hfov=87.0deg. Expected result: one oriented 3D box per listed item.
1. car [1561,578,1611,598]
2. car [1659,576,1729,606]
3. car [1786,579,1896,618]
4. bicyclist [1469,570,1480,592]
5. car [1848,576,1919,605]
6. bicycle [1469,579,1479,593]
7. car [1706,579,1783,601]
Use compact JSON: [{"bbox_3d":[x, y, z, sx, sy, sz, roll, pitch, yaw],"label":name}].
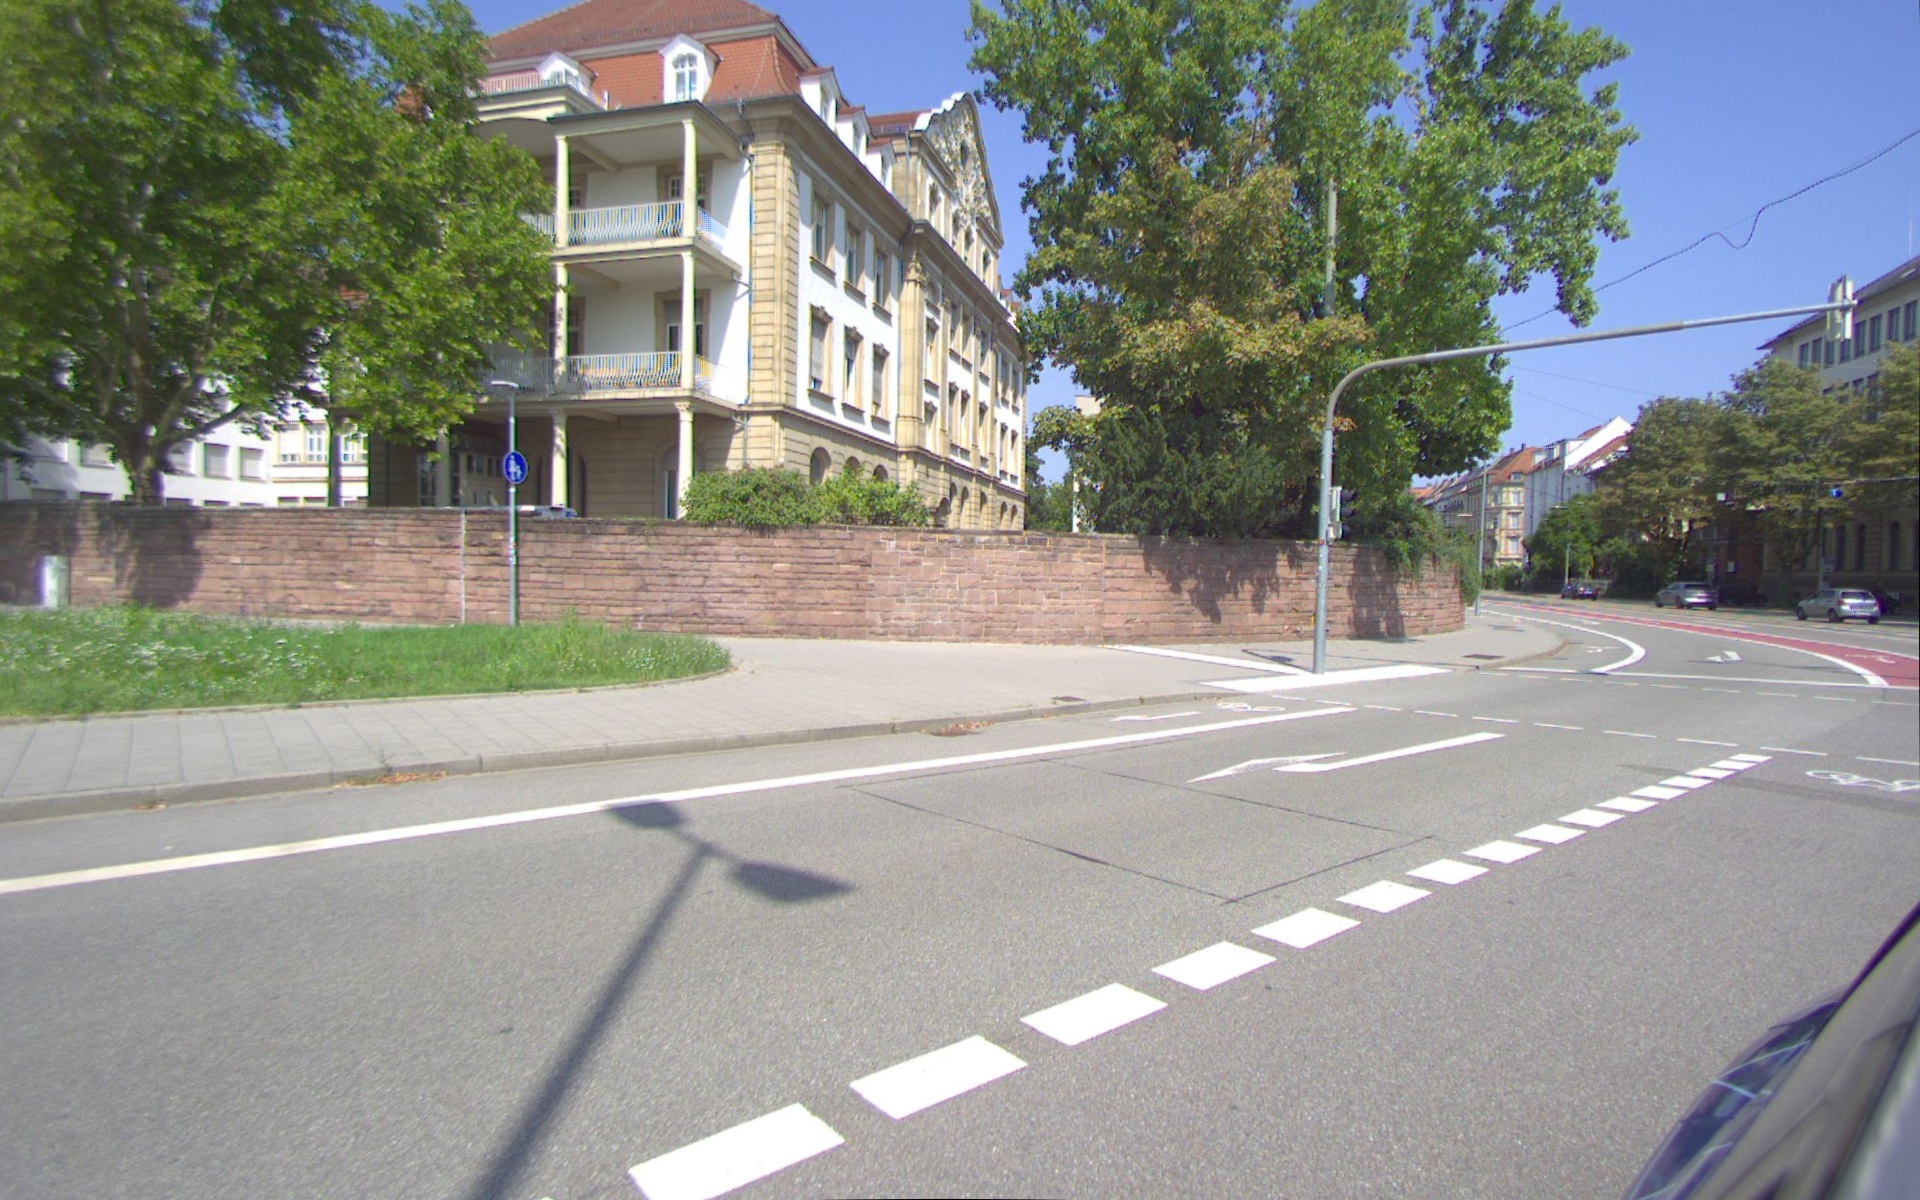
[{"bbox_3d":[48.496,-0.982,78.510,1.666,1.395,4.606,2,2,10],"label":"car"},{"bbox_3d":[43.519,-0.578,60.090,1.752,1.630,4.652,2,2,15],"label":"car"},{"bbox_3d":[39.097,-0.128,45.045,1.629,1.549,4.313,2,2,10],"label":"car"},{"bbox_3d":[38.689,-1.439,76.076,0.623,1.618,0.983,3,2,29],"label":"bicyclist"},{"bbox_3d":[51.659,-0.537,56.207,4.076,1.514,1.825,1,2,-22],"label":"car"},{"bbox_3d":[38.724,-1.041,76.196,0.610,1.012,1.695,2,3,28],"label":"bicycle"},{"bbox_3d":[54.849,-0.728,70.794,4.337,1.480,1.825,0,2,-11],"label":"car"}]
